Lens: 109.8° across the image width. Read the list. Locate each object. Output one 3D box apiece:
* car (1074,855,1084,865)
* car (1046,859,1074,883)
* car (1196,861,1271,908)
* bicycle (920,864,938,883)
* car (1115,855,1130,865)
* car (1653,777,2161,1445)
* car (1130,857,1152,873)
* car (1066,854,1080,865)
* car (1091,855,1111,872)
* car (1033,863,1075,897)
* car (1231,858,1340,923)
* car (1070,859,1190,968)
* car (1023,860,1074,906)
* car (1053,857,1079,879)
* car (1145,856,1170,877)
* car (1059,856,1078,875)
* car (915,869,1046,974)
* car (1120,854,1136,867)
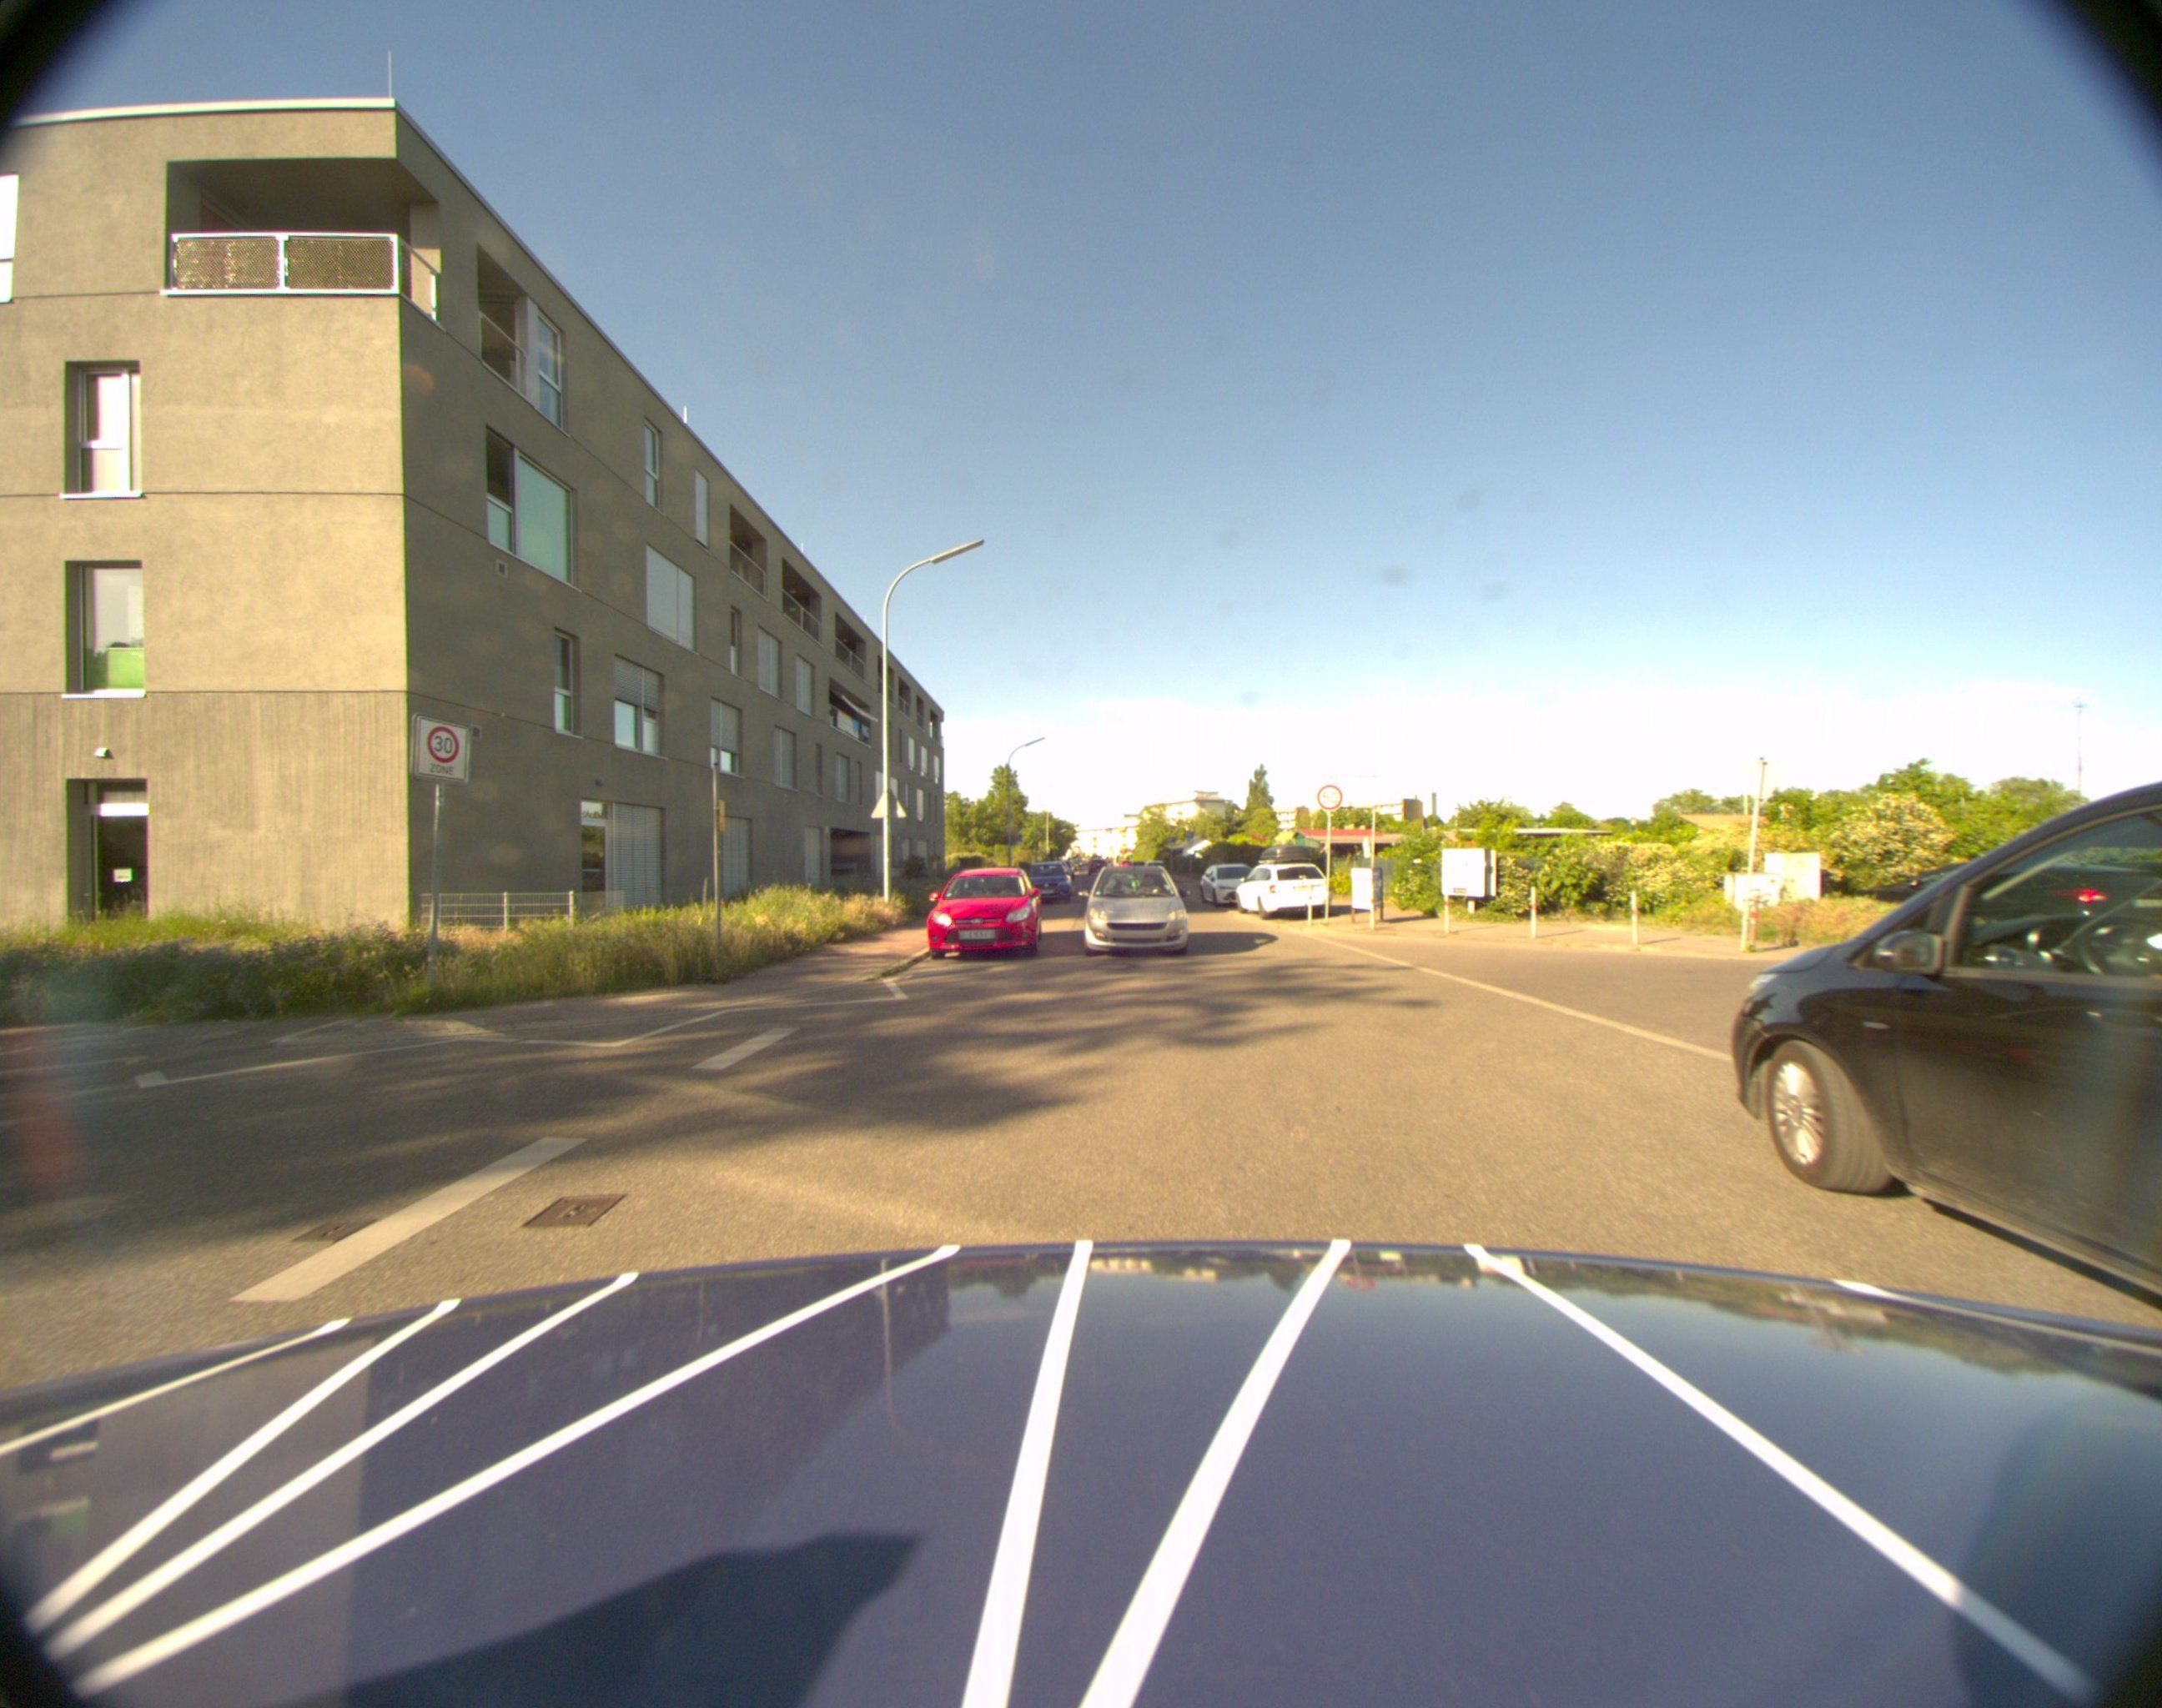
[{"bbox_3d":[-0.380,1.117,153.564,1.998,2.002,4.000,0,0,0],"label":"car"},{"bbox_3d":[-1.392,1.115,51.654,1.711,1.517,4.155,-2,0,1],"label":"car"},{"bbox_3d":[5.416,1.029,27.512,1.751,1.437,4.541,-3,0,0],"label":"car"},{"bbox_3d":[-8.905,1.122,44.449,0.553,1.055,1.842,-1,0,4],"label":"bicycle"},{"bbox_3d":[5.559,0.799,102.516,1.700,1.361,3.910,0,0,0],"label":"car"},{"bbox_3d":[3.929,0.708,1.683,1.958,1.856,5.258,0,0,8],"label":"car"},{"bbox_3d":[5.816,1.038,74.301,1.700,1.415,4.516,-3,0,0],"label":"car"},{"bbox_3d":[-1.147,0.806,111.444,1.873,1.517,4.155,-1,0,1],"label":"car"},{"bbox_3d":[2.084,0.954,79.097,1.947,1.717,4.839,0,0,2],"label":"car"},{"bbox_3d":[-1.211,1.201,36.452,1.749,1.421,4.585,-2,0,1],"label":"car"},{"bbox_3d":[5.498,0.916,21.046,1.700,1.504,4.517,-3,0,0],"label":"car"},{"bbox_3d":[0.966,0.890,13.100,1.678,1.440,4.002,-3,1,7],"label":"car"},{"bbox_3d":[-1.250,1.094,30.639,1.822,1.590,4.627,-3,0,-1],"label":"car"},{"bbox_3d":[-1.143,1.083,60.690,1.749,1.557,4.803,-2,0,2],"label":"car"},{"bbox_3d":[5.692,0.913,56.944,1.531,1.479,3.401,-1,0,0],"label":"car"},{"bbox_3d":[-1.186,1.043,71.065,1.711,1.695,4.349,-3,0,-1],"label":"car"},{"bbox_3d":[-1.641,1.085,13.894,1.823,1.491,4.451,-1,0,-1],"label":"car"},{"bbox_3d":[5.699,0.779,92.833,1.700,1.421,4.385,0,0,0],"label":"car"}]
